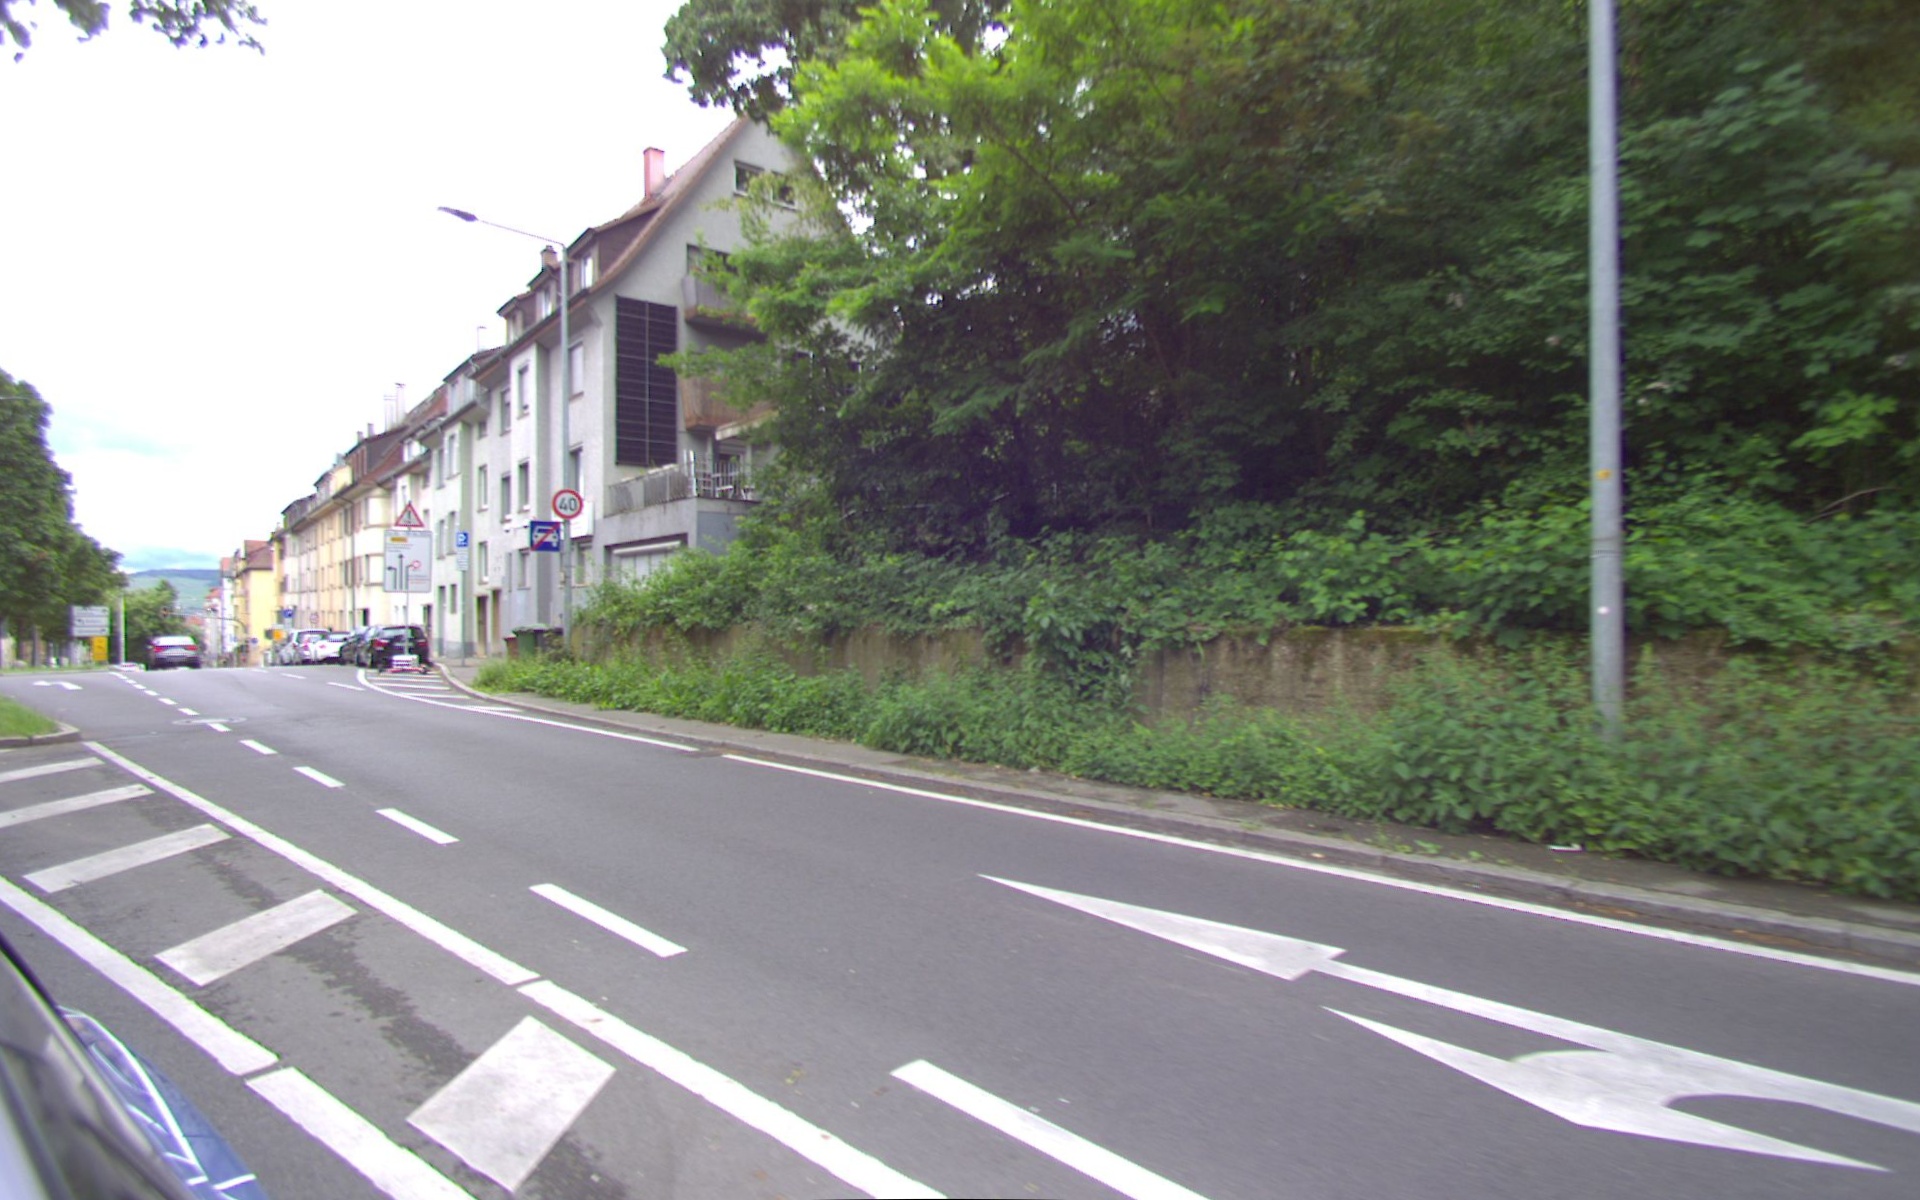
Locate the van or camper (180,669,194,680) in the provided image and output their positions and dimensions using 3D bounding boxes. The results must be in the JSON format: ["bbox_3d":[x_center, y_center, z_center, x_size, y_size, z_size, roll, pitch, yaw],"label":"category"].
[{"bbox_3d":[-130.401,12.537,170.707,1.883,1.775,4.664,-1,-3,-38],"label":"van or camper"}]

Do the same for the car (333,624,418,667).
[{"bbox_3d":[-21.986,1.724,38.010,1.969,1.434,4.217,1,-4,-42],"label":"car"}]

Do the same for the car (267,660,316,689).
[{"bbox_3d":[-38.458,4.289,58.196,1.968,1.564,4.165,0,-4,-39],"label":"car"}]

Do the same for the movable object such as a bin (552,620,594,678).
[{"bbox_3d":[-7.243,0.916,18.950,0.430,1.032,0.550,-3,1,36],"label":"movable object such as a bin"}]

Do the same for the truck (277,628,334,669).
[{"bbox_3d":[-34.654,2.597,53.518,1.968,1.935,5.356,0,-4,-39],"label":"truck"}]

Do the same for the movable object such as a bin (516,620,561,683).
[{"bbox_3d":[-8.269,1.005,19.865,0.491,1.194,0.599,-3,1,36],"label":"movable object such as a bin"}]

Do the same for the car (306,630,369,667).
[{"bbox_3d":[-27.817,2.171,45.159,1.968,1.486,4.166,0,-4,-38],"label":"car"}]

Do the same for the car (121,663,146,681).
[{"bbox_3d":[-74.156,6.505,90.845,1.723,1.478,4.594,0,-4,-39],"label":"car"}]

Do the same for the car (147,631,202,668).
[{"bbox_3d":[-39.160,2.421,50.430,1.847,1.711,4.942,0,-2,-41],"label":"car"}]

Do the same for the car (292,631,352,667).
[{"bbox_3d":[-31.011,2.397,49.156,1.968,1.564,4.389,0,-4,-39],"label":"car"}]

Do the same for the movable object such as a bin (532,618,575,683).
[{"bbox_3d":[-7.835,0.969,19.494,0.430,1.194,0.575,-3,1,36],"label":"movable object such as a bin"}]

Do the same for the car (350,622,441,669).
[{"bbox_3d":[-18.680,1.520,33.411,1.968,1.411,4.527,0,-3,-38],"label":"car"}]

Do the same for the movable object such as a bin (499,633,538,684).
[{"bbox_3d":[-8.848,1.174,20.286,0.444,0.974,0.511,-3,1,36],"label":"movable object such as a bin"}]

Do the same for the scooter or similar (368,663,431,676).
[{"bbox_3d":[-14.852,1.849,26.830,1.097,0.290,1.113,-2,-3,37],"label":"scooter or similar"}]
